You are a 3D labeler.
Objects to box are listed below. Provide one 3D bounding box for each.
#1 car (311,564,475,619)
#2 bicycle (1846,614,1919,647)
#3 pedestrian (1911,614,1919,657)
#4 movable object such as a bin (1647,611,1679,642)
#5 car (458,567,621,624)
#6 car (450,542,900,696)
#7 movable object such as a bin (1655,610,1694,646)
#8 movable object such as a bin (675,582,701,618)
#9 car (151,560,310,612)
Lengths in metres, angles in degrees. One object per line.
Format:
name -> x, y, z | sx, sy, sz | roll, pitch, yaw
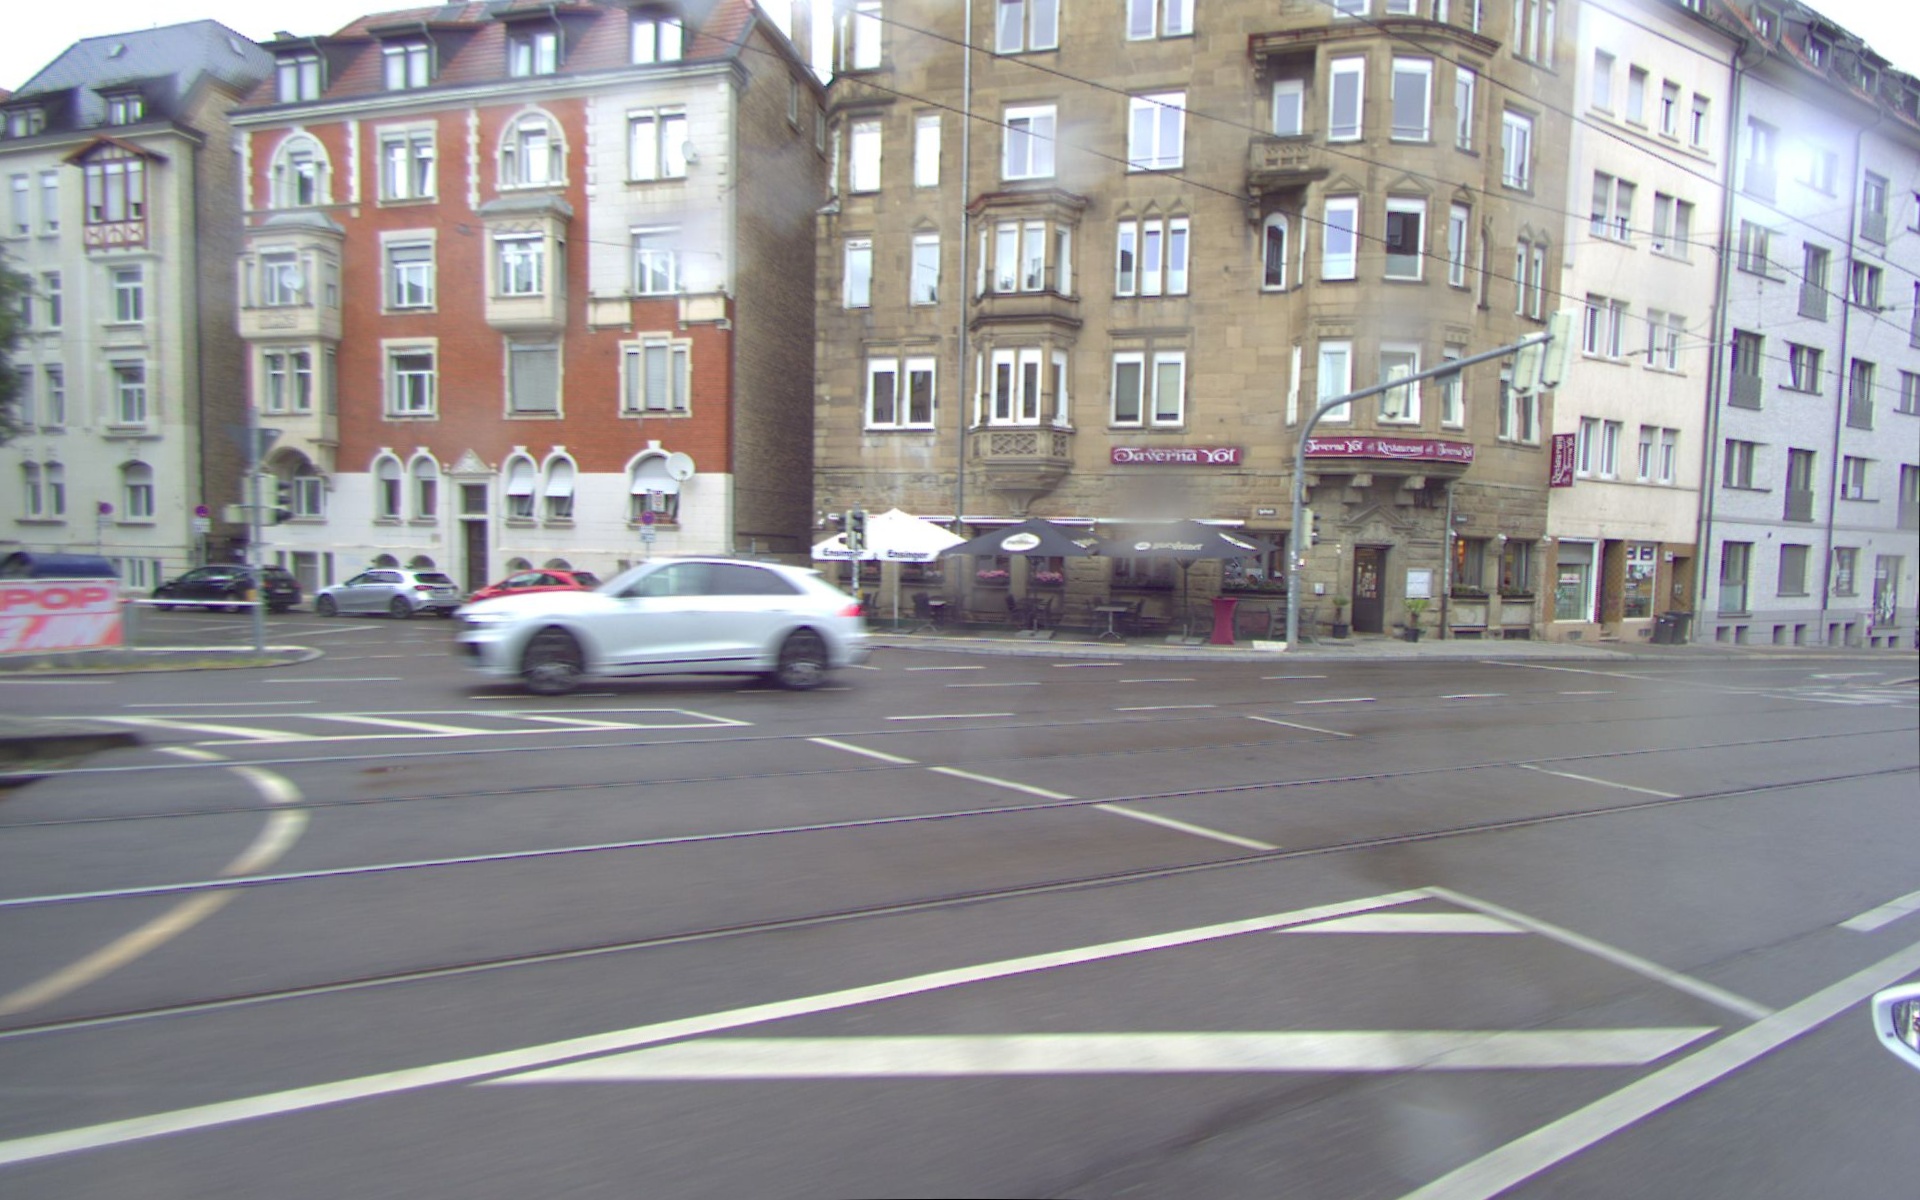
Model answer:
car -> -16.555, -0.264, 29.380 | 4.083, 1.422, 1.743 | 2, 1, 14
bicycle -> 48.842, 1.593, 52.844 | 1.584, 1.605, 3.120 | 1, 1, -39
pedestrian -> 41.181, 1.534, 42.822 | 0.912, 1.810, 0.637 | 3, 0, -29
movable object such as a bin -> 22.533, 0.855, 32.204 | 0.553, 0.923, 0.591 | 1, 5, -28
car -> -11.762, -0.135, 28.177 | 3.919, 1.422, 1.743 | 2, 1, 14
car -> -3.546, 0.244, 12.818 | 5.182, 1.649, 1.987 | 1, 1, -26
movable object such as a bin -> 23.106, 0.907, 32.485 | 0.679, 1.088, 0.710 | 1, 5, -28
movable object such as a bin -> -8.249, -0.016, 30.450 | 0.540, 1.056, 0.722 | 2, 1, 3
car -> -22.400, -0.437, 30.892 | 4.060, 1.422, 1.743 | 2, 1, 14
